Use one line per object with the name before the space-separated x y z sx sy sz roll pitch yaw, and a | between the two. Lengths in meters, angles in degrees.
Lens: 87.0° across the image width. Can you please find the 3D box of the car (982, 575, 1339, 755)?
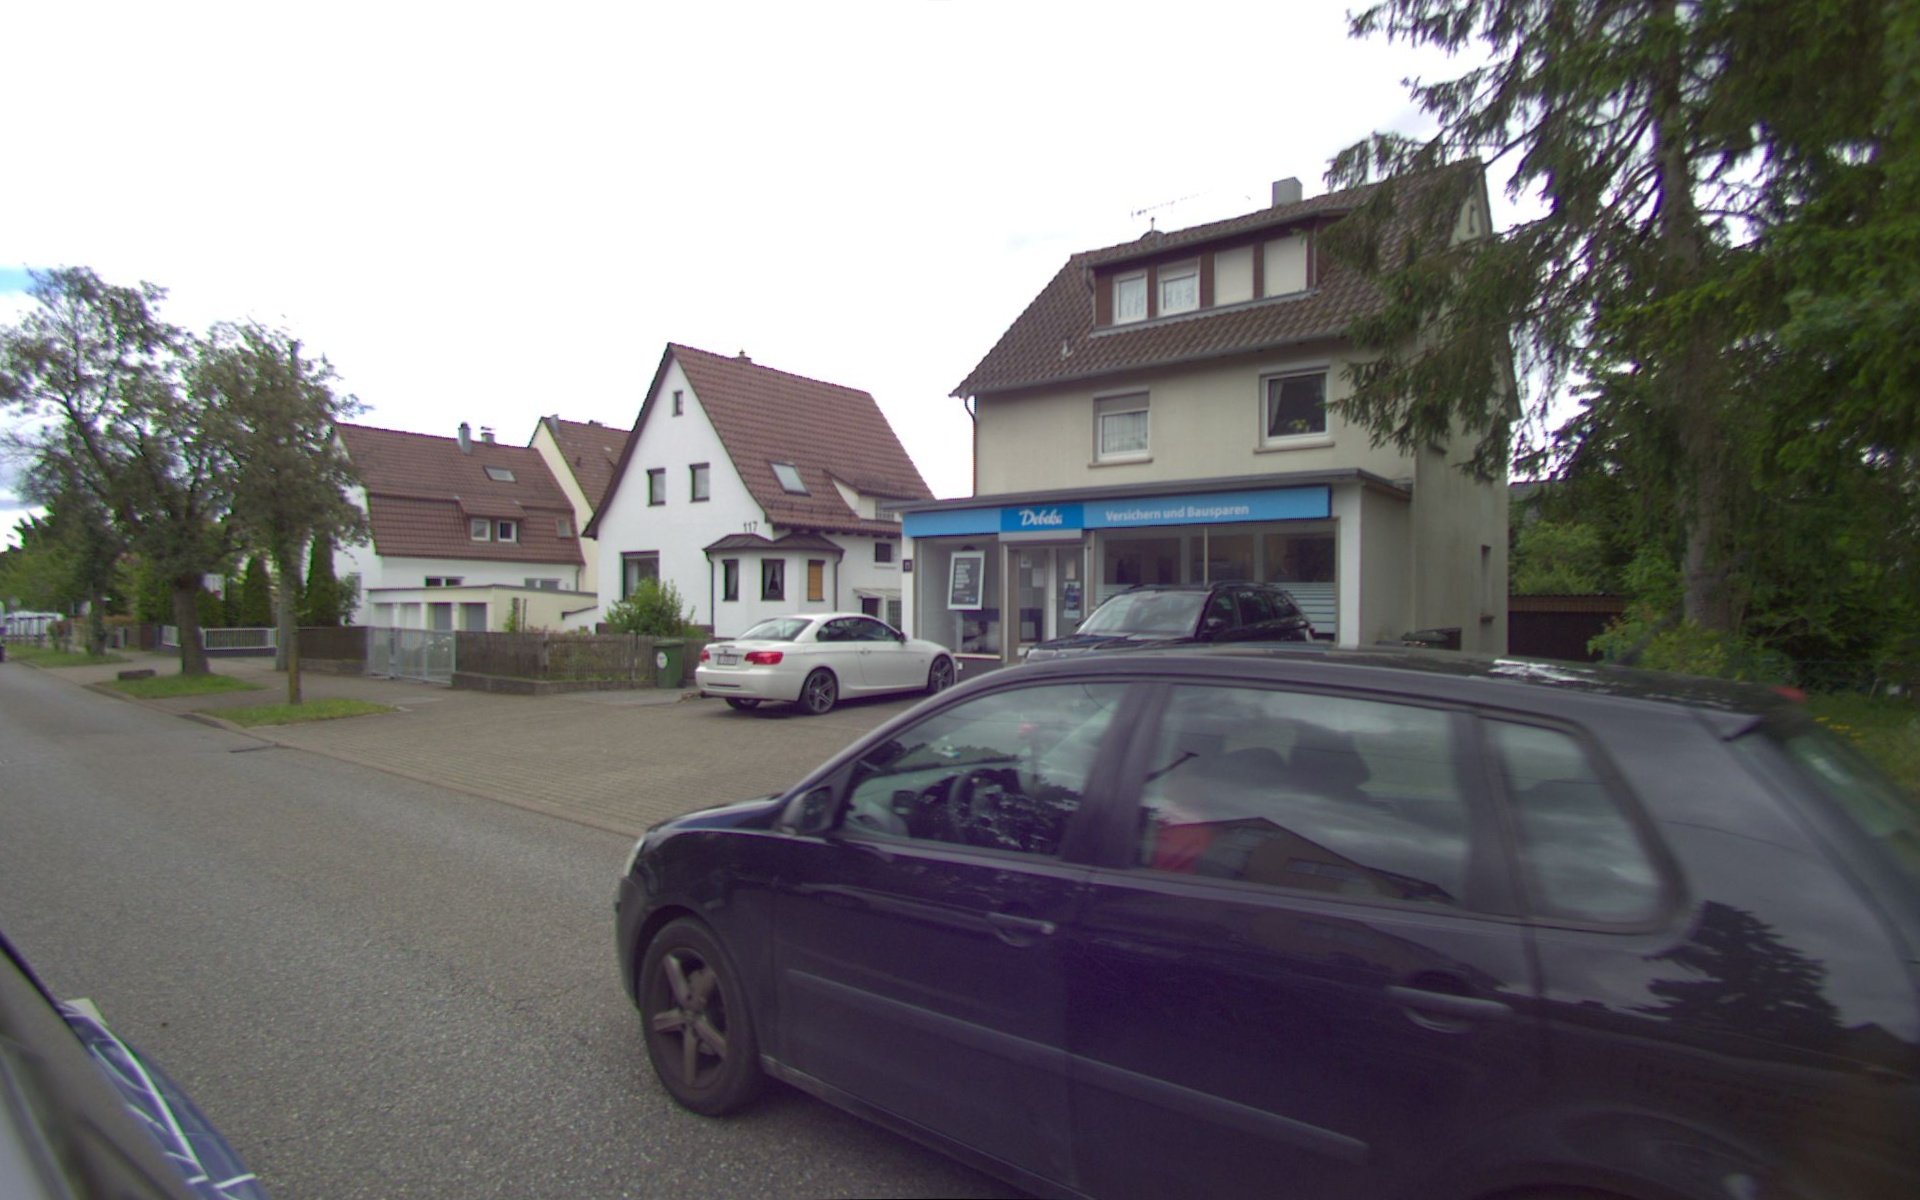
car | 2.425 0.562 11.458 1.974 1.630 4.285 -1 1 44

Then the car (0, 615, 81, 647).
car | -78.109 2.622 85.358 5.526 2.583 2.137 2 -2 -29

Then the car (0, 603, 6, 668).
car | -41.151 1.436 41.809 5.299 2.602 2.051 -2 -3 42

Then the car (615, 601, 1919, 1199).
car | 0.736 0.772 2.703 3.467 1.483 1.559 -1 -1 39

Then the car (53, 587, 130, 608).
car | -71.878 -0.235 83.823 1.999 1.633 4.584 -3 -1 41

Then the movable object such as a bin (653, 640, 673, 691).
movable object such as a bin | -5.656 1.238 19.244 0.428 0.967 0.131 -2 -1 39

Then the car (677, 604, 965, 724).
car | -1.917 0.841 15.172 1.813 1.378 4.240 -1 1 36
